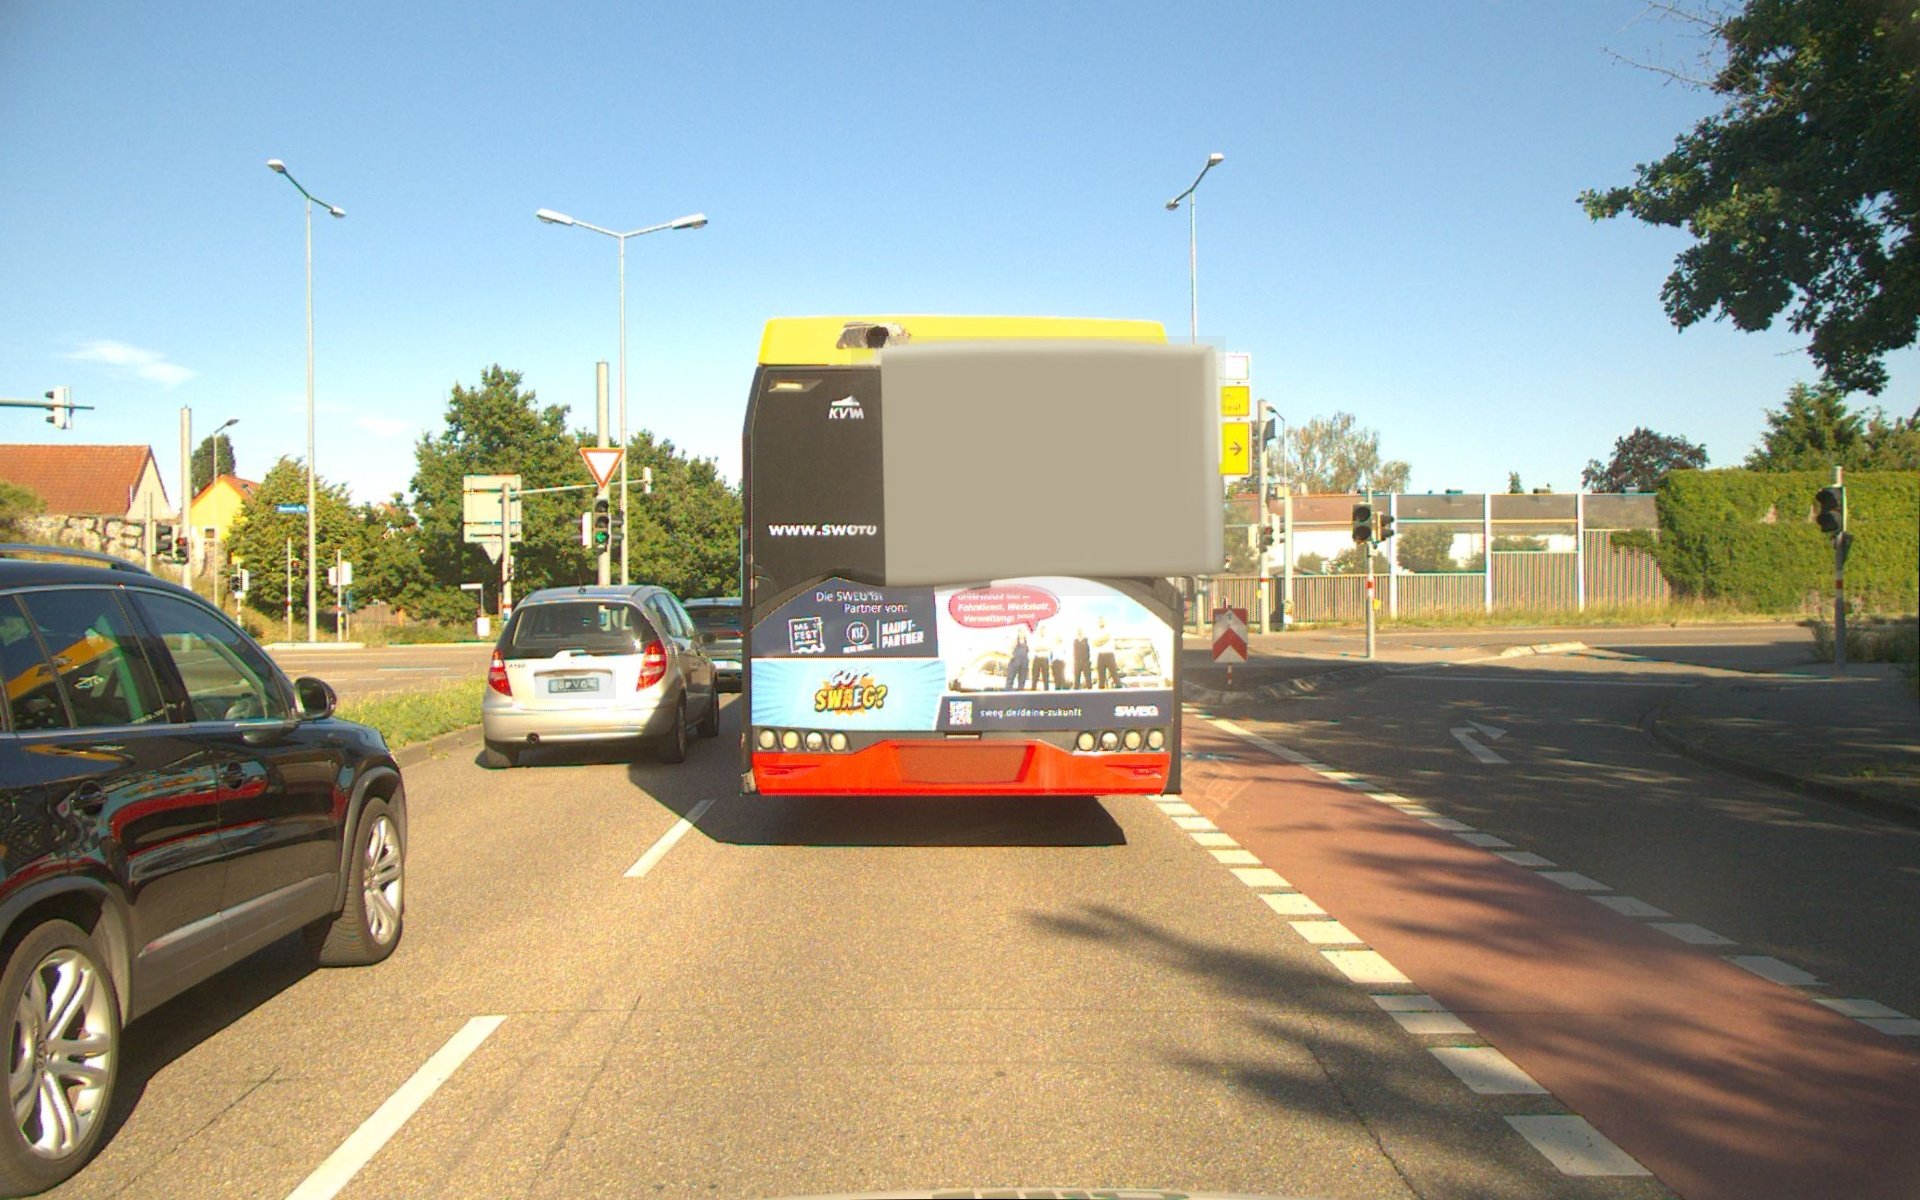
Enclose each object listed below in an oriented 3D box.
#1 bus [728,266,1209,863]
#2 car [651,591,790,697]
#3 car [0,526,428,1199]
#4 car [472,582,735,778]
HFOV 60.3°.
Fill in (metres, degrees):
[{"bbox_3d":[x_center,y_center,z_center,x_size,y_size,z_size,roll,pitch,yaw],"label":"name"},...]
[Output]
[{"bbox_3d":[0.013,-0.244,14.929,2.589,3.222,11.860,0,0,0],"label":"bus"},{"bbox_3d":[-3.673,0.632,25.930,1.658,1.484,3.750,-2,0,-1],"label":"car"},{"bbox_3d":[-3.192,0.691,5.309,1.736,1.682,3.998,-2,0,-2],"label":"car"},{"bbox_3d":[-3.313,0.671,16.107,1.725,1.617,3.999,-2,0,-1],"label":"car"}]
